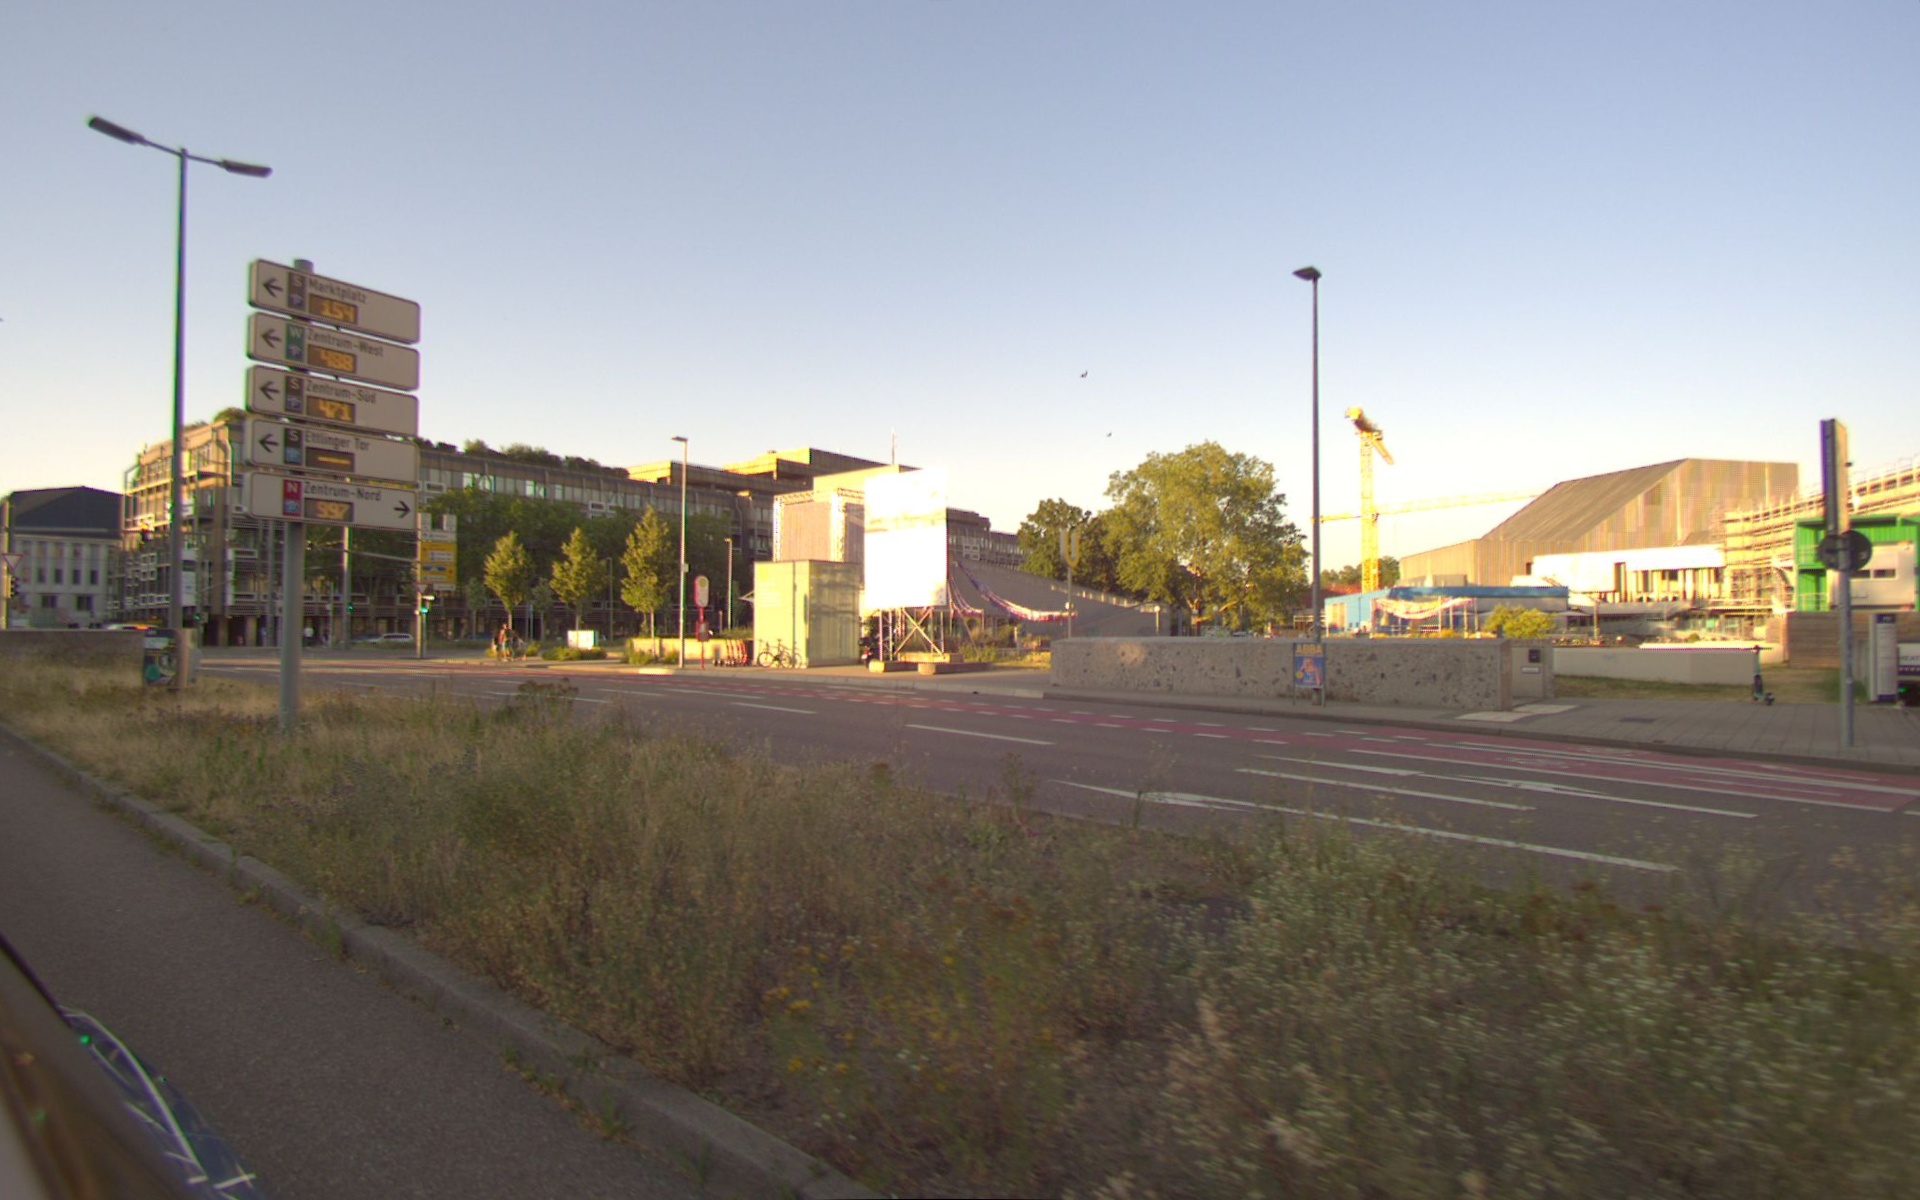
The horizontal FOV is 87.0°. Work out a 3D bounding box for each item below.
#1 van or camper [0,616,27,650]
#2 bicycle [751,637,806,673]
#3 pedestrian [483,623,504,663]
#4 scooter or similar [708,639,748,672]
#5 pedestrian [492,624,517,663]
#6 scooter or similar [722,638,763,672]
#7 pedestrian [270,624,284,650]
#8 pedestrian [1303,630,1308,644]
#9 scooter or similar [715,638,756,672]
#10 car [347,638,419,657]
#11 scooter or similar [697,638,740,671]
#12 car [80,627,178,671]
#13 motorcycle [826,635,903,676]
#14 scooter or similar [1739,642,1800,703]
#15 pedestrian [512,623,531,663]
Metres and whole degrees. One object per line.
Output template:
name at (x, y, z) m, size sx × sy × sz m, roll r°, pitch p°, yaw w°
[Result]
van or camper at (-80.762, 2.816, 85.211) m, size 6.154 × 2.687 × 2.205 m, roll -3°, pitch -3°, yaw 38°
bicycle at (-7.085, 2.126, 39.449) m, size 2.507 × 1.334 × 0.611 m, roll -2°, pitch -3°, yaw 39°
pedestrian at (-22.701, 2.087, 49.267) m, size 0.775 × 1.948 × 0.625 m, roll -1°, pitch -3°, yaw 39°
scooter or similar at (-9.445, 2.229, 41.184) m, size 0.416 × 1.315 × 1.772 m, roll -1°, pitch -2°, yaw 34°
pedestrian at (-21.885, 2.095, 48.616) m, size 0.775 × 1.851 × 0.862 m, roll -2°, pitch -3°, yaw 42°
scooter or similar at (-8.703, 2.199, 40.630) m, size 0.422 × 1.315 × 1.819 m, roll -1°, pitch -2°, yaw 34°
pedestrian at (-50.366, 2.724, 74.635) m, size 0.680 × 1.946 × 0.636 m, roll -1°, pitch -3°, yaw 38°
pedestrian at (34.404, 3.700, 100.769) m, size 0.380 × 1.418 × 0.572 m, roll -1°, pitch -2°, yaw 20°
scooter or similar at (-9.060, 2.214, 40.891) m, size 0.422 × 1.315 × 1.815 m, roll -1°, pitch -2°, yaw 34°
car at (-50.883, 4.183, 89.336) m, size 1.998 × 1.597 × 5.094 m, roll -3°, pitch -3°, yaw 40°
scooter or similar at (-9.871, 2.231, 41.462) m, size 0.499 × 1.315 × 1.842 m, roll -1°, pitch -2°, yaw 34°
car at (-29.329, 1.702, 35.671) m, size 4.534 × 1.477 × 1.867 m, roll -2°, pitch -3°, yaw 40°
motorcycle at (-3.507, 2.019, 37.383) m, size 0.839 × 1.393 × 3.201 m, roll -2°, pitch -1°, yaw 39°
scooter or similar at (17.113, 1.514, 21.433) m, size 0.543 × 1.233 × 1.555 m, roll -1°, pitch -2°, yaw 22°
pedestrian at (-21.317, 2.100, 49.183) m, size 0.647 × 1.948 × 0.652 m, roll -3°, pitch -4°, yaw 42°
